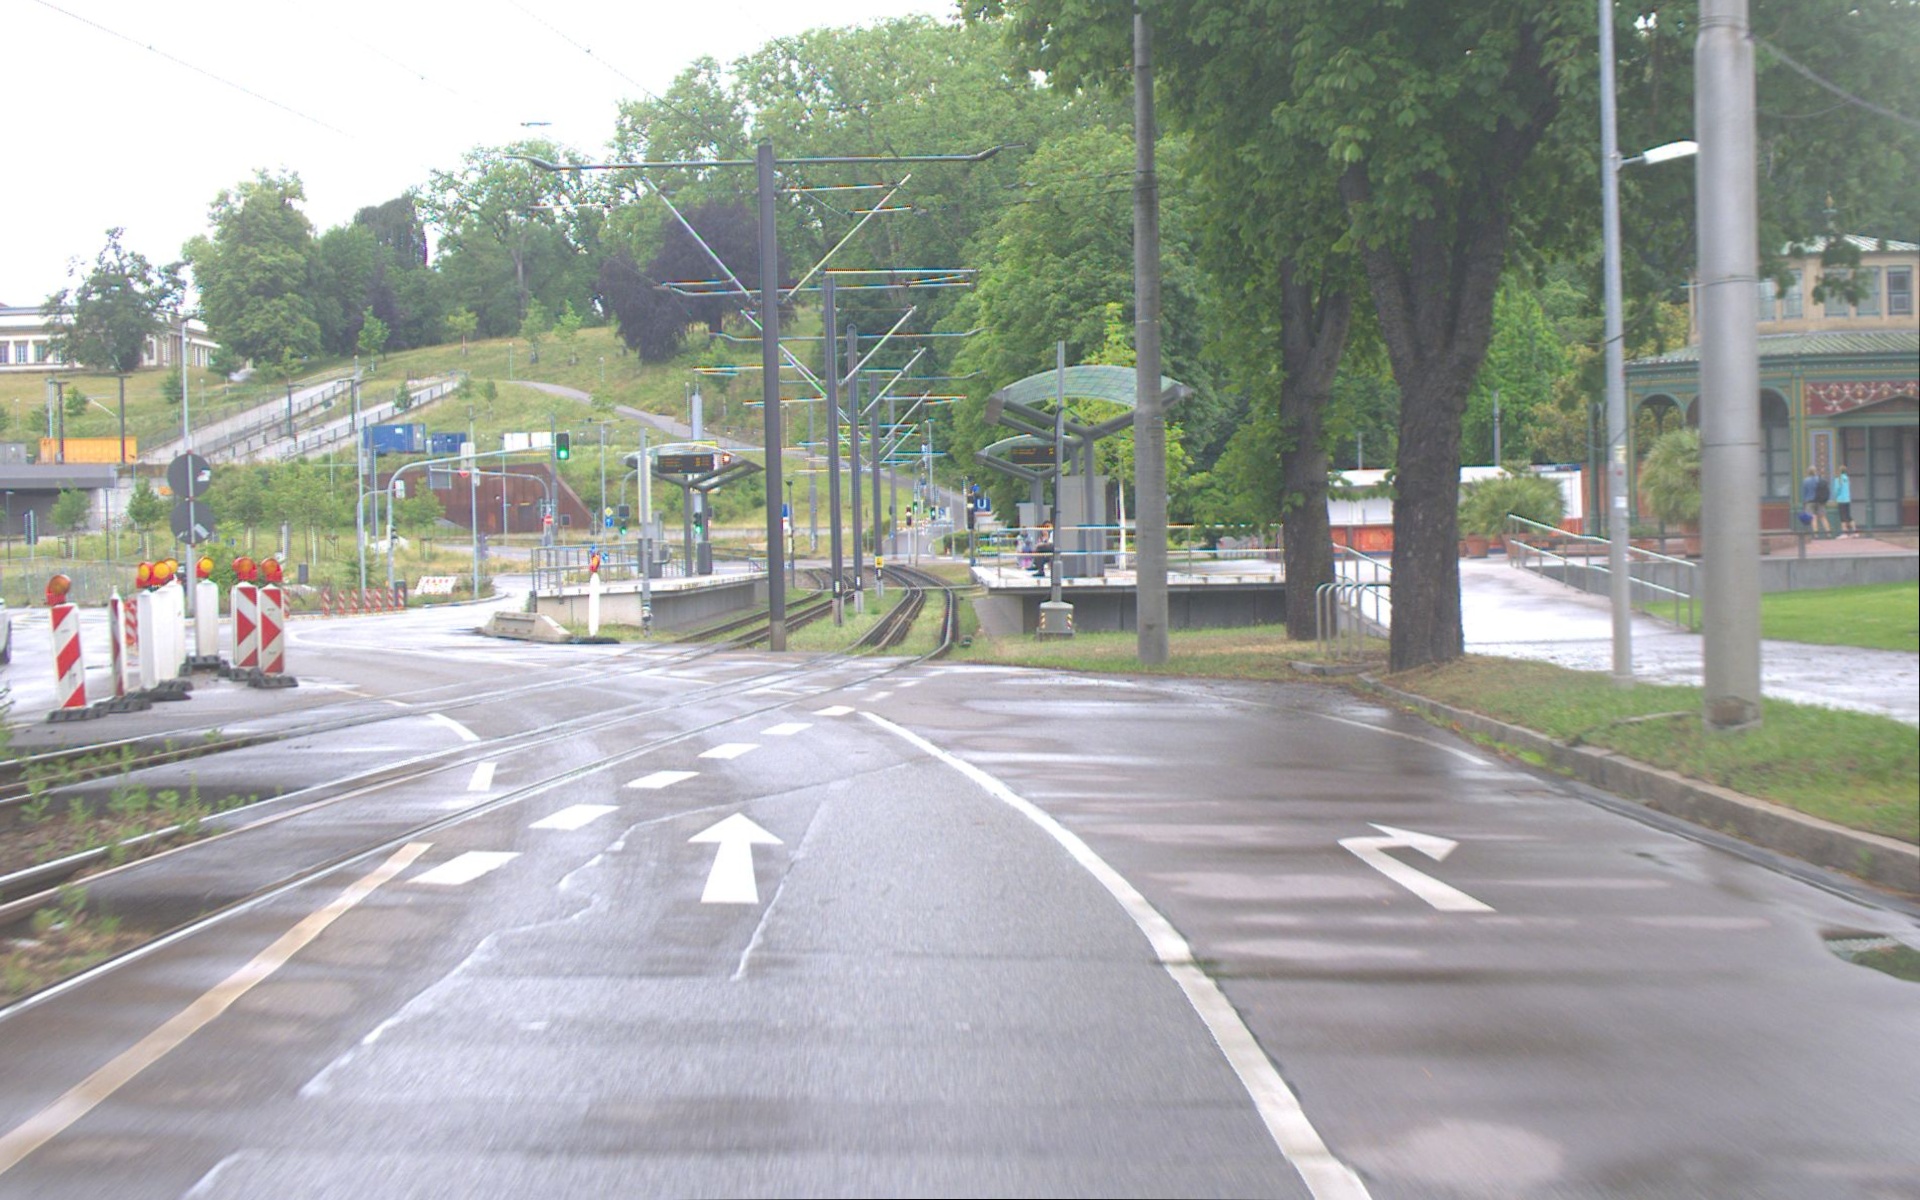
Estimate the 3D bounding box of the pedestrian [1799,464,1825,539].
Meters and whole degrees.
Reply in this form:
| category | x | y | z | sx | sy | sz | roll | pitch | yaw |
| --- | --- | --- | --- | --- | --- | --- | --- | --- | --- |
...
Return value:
| category | x | y | z | sx | sy | sz | roll | pitch | yaw |
| --- | --- | --- | --- | --- | --- | --- | --- | --- | --- |
| pedestrian | 19.685 | -2.276 | 79.434 | 0.531 | 1.705 | 0.695 | 1 | -1 | 11 |

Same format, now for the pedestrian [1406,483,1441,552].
| category | x | y | z | sx | sy | sz | roll | pitch | yaw |
| --- | --- | --- | --- | --- | --- | --- | --- | --- | --- |
| pedestrian | 12.448 | -2.218 | 92.356 | 0.720 | 1.784 | 1.182 | -3 | 1 | 0 |

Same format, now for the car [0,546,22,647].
| category | x | y | z | sx | sy | sz | roll | pitch | yaw |
| --- | --- | --- | --- | --- | --- | --- | --- | --- | --- |
| car | -15.277 | -0.017 | 51.655 | 1.708 | 1.493 | 4.721 | -3 | 1 | -9 |

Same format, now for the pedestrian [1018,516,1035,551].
| category | x | y | z | sx | sy | sz | roll | pitch | yaw |
| --- | --- | --- | --- | --- | --- | --- | --- | --- | --- |
| pedestrian | 1.938 | -1.951 | 100.414 | 0.437 | 1.005 | 0.551 | -2 | 1 | 1 |

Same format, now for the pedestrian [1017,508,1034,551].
| category | x | y | z | sx | sy | sz | roll | pitch | yaw |
| --- | --- | --- | --- | --- | --- | --- | --- | --- | --- |
| pedestrian | 1.928 | -2.071 | 101.186 | 0.437 | 1.222 | 0.551 | -2 | 1 | 1 |

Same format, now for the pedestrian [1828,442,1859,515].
| category | x | y | z | sx | sy | sz | roll | pitch | yaw |
| --- | --- | --- | --- | --- | --- | --- | --- | --- | --- |
| pedestrian | 20.248 | -2.778 | 78.817 | 0.551 | 1.651 | 0.468 | 0 | 0 | 34 |

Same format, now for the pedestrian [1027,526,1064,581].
| category | x | y | z | sx | sy | sz | roll | pitch | yaw |
| --- | --- | --- | --- | --- | --- | --- | --- | --- | --- |
| pedestrian | 1.774 | -0.962 | 71.517 | 0.600 | 1.115 | 0.520 | 3 | 0 | -16 |
